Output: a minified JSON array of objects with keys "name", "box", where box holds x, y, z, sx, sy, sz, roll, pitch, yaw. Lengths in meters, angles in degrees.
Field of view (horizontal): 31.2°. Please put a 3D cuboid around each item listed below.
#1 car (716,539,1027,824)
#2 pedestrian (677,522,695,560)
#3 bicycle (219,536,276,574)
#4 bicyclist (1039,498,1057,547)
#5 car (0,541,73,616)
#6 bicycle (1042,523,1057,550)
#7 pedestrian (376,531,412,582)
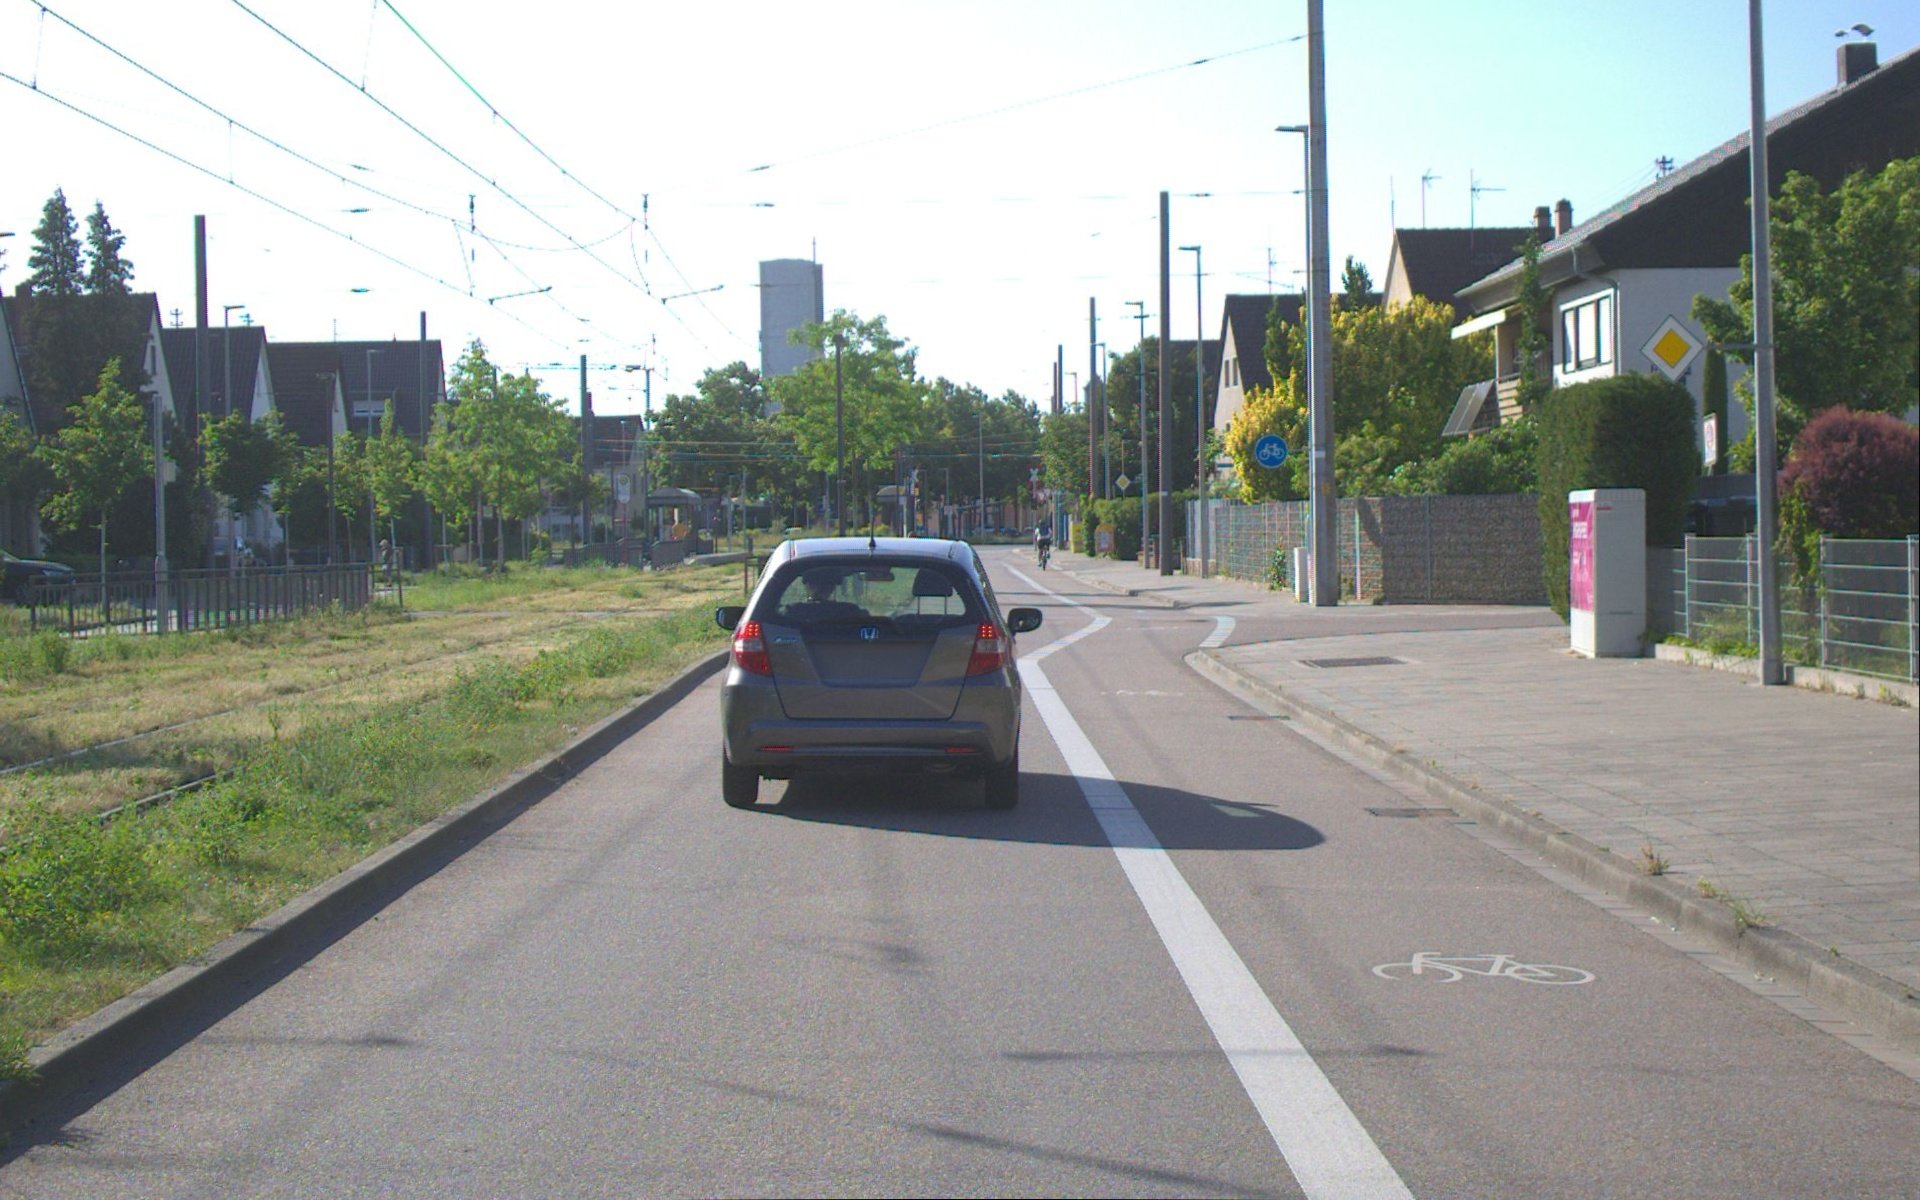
[{"name":"car","box":[-0.532,0.413,20.297,1.670,1.530,3.487,0,1,-2]},{"name":"pedestrian","box":[-11.256,-2.435,141.338,0.675,1.530,0.749,-2,2,-4]},{"name":"bicycle","box":[-26.779,-1.691,129.173,1.988,1.361,0.705,-2,1,-7]},{"name":"bicyclist","box":[3.104,-2.739,121.583,0.598,1.695,0.683,0,1,0]},{"name":"car","box":[-23.928,-0.478,83.302,4.539,1.728,2.053,-2,2,-11]},{"name":"bicycle","box":[3.178,-2.245,121.792,0.475,0.958,1.657,0,1,0]},{"name":"pedestrian","box":[-18.711,-1.450,113.587,0.965,1.635,1.086,-2,1,0]}]
